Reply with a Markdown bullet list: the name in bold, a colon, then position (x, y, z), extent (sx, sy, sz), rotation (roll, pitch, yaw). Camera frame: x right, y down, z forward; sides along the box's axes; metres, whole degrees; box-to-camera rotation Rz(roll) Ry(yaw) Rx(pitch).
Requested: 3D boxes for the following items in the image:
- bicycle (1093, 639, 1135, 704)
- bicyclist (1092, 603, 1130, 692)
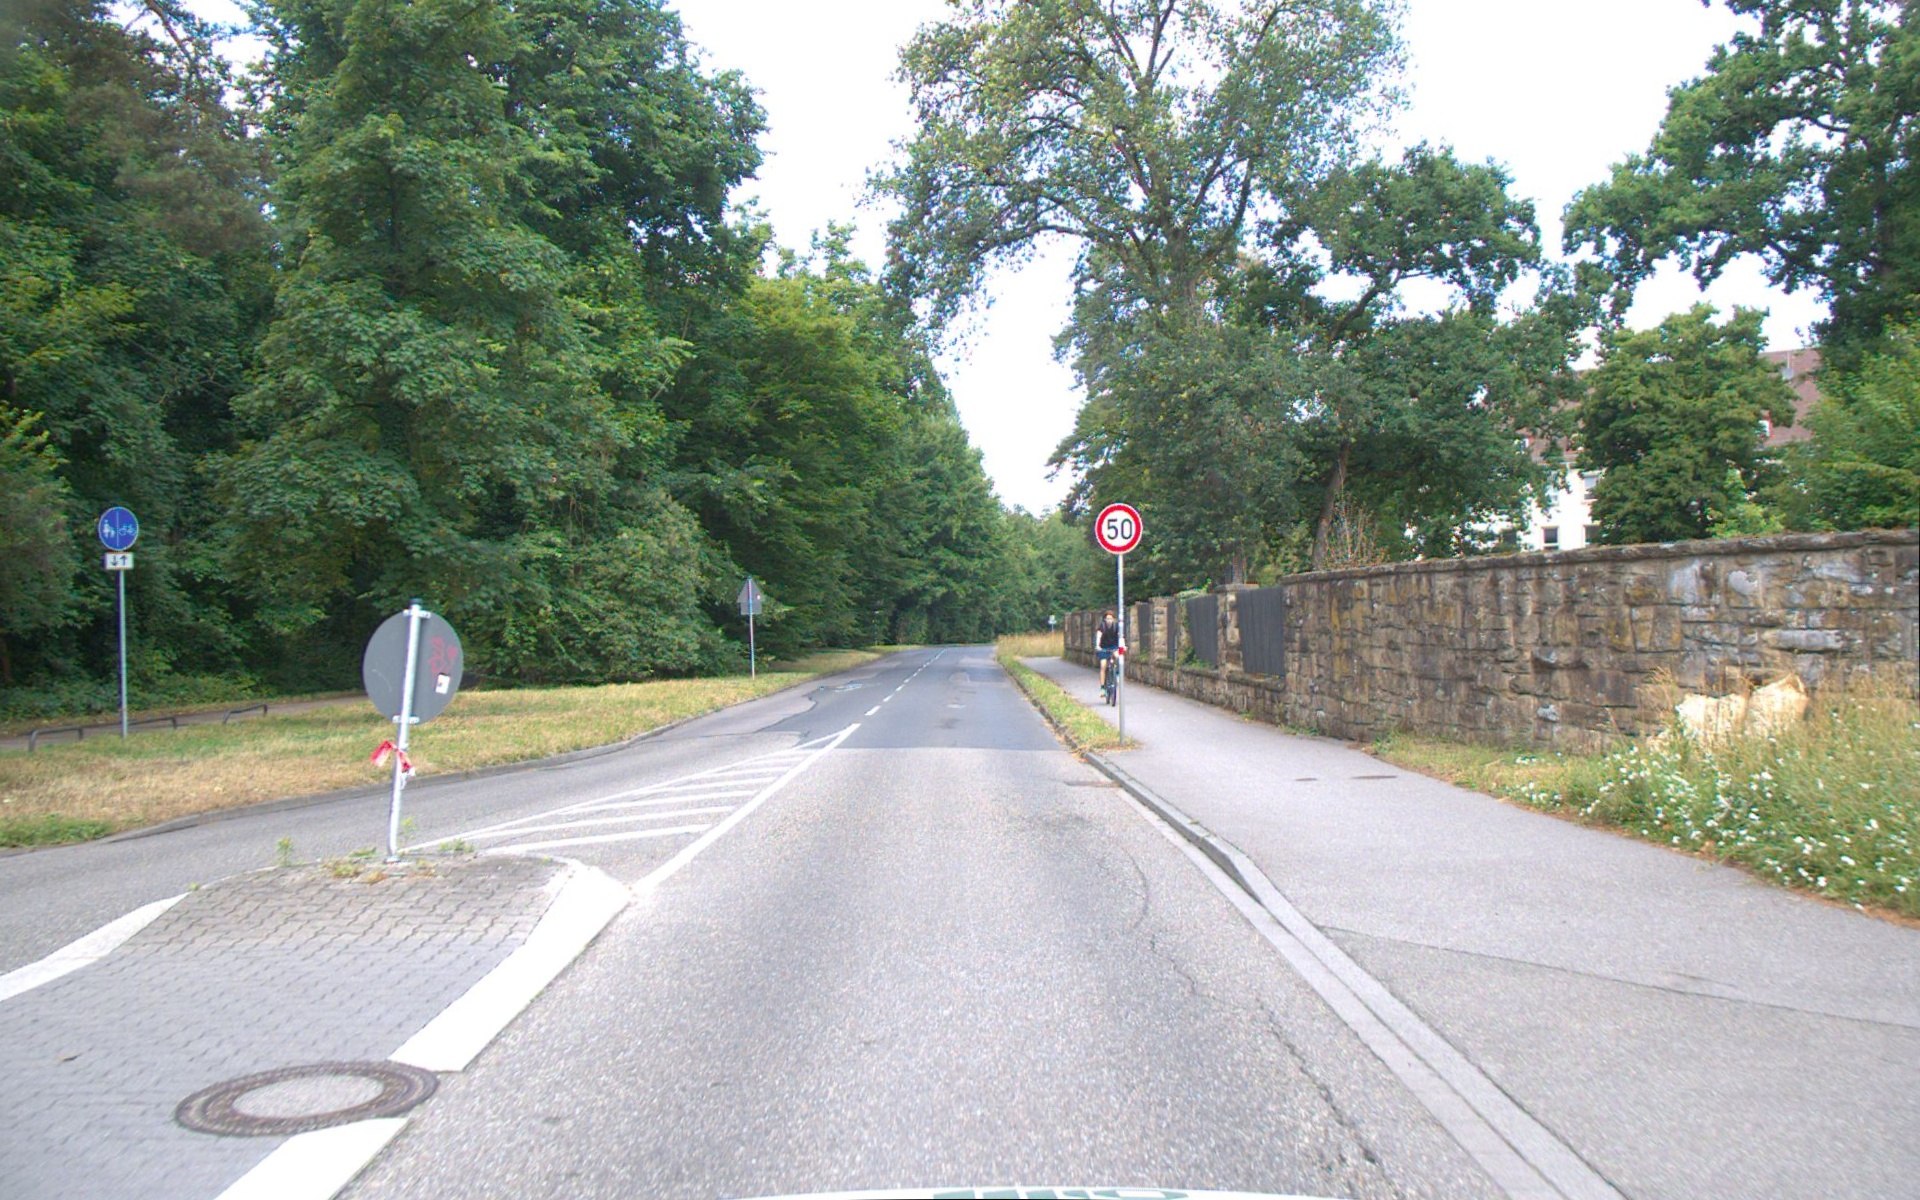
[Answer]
- **bicycle**: position (2.856, 1.312, 30.794), extent (0.547, 1.091, 2.157), rotation (-2, 0, 0)
- **bicyclist**: position (2.833, 0.877, 31.104), extent (0.558, 1.616, 1.205), rotation (-2, 0, 0)
